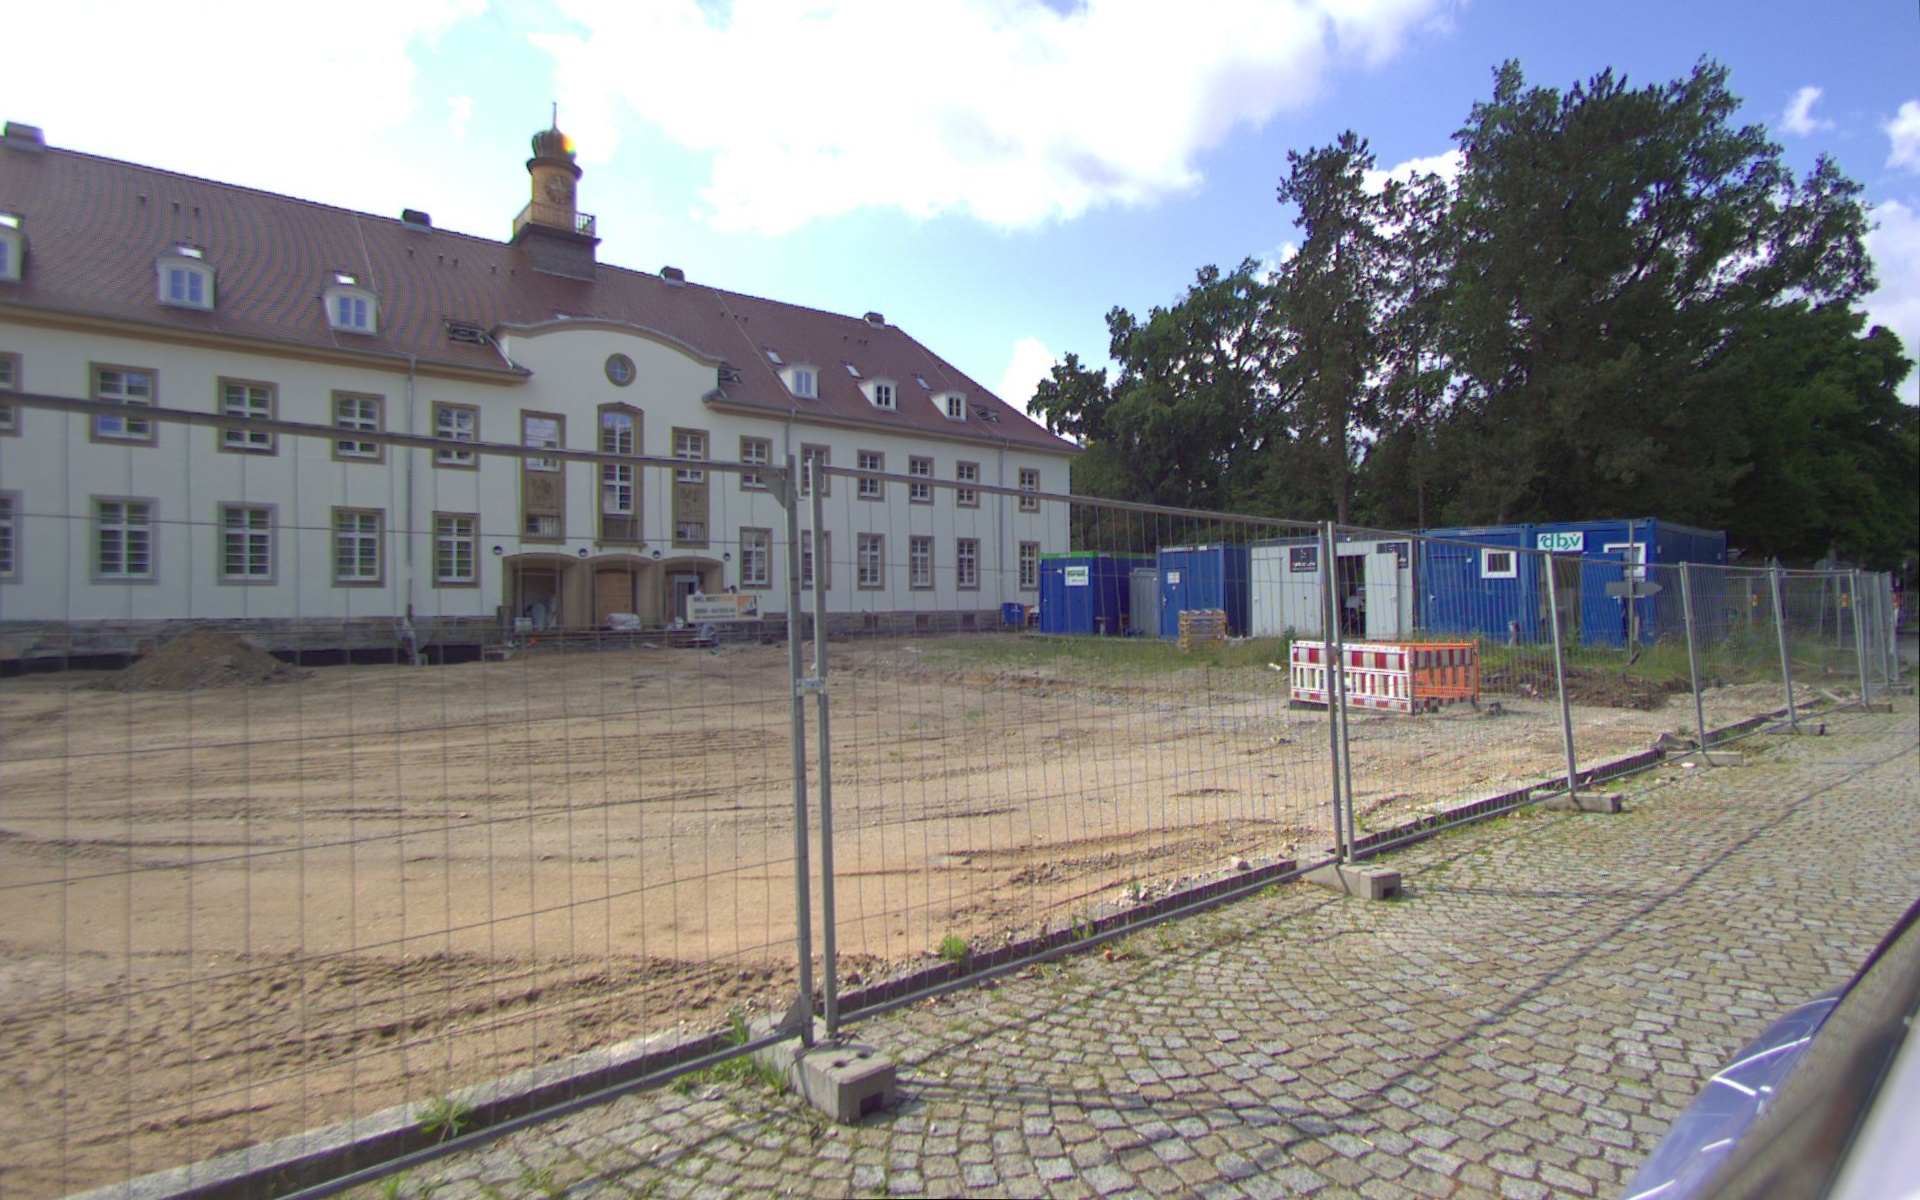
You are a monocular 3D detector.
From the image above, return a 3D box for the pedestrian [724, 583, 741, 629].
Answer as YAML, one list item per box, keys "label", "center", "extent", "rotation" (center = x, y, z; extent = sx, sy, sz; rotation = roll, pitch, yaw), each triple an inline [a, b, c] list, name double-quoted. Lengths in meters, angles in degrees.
- label: "pedestrian"
  center: [-8.970, 0.249, 39.890]
  extent: [0.498, 1.810, 0.490]
  rotation: [0, -1, -42]

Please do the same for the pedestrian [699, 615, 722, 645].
- label: "pedestrian"
  center: [-9.325, 1.114, 37.790]
  extent: [0.697, 1.128, 0.490]
  rotation: [0, -1, -41]

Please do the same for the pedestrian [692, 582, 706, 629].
- label: "pedestrian"
  center: [-10.082, 0.206, 39.091]
  extent: [0.496, 1.810, 0.492]
  rotation: [0, -1, -17]

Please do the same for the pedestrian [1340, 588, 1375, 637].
- label: "pedestrian"
  center: [10.418, 0.333, 26.539]
  extent: [0.671, 1.259, 0.602]
  rotation: [0, -1, -41]

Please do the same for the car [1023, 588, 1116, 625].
- label: "car"
  center: [5.473, 0.283, 50.111]
  extent: [4.623, 1.750, 1.884]
  rotation: [-1, 0, -39]
